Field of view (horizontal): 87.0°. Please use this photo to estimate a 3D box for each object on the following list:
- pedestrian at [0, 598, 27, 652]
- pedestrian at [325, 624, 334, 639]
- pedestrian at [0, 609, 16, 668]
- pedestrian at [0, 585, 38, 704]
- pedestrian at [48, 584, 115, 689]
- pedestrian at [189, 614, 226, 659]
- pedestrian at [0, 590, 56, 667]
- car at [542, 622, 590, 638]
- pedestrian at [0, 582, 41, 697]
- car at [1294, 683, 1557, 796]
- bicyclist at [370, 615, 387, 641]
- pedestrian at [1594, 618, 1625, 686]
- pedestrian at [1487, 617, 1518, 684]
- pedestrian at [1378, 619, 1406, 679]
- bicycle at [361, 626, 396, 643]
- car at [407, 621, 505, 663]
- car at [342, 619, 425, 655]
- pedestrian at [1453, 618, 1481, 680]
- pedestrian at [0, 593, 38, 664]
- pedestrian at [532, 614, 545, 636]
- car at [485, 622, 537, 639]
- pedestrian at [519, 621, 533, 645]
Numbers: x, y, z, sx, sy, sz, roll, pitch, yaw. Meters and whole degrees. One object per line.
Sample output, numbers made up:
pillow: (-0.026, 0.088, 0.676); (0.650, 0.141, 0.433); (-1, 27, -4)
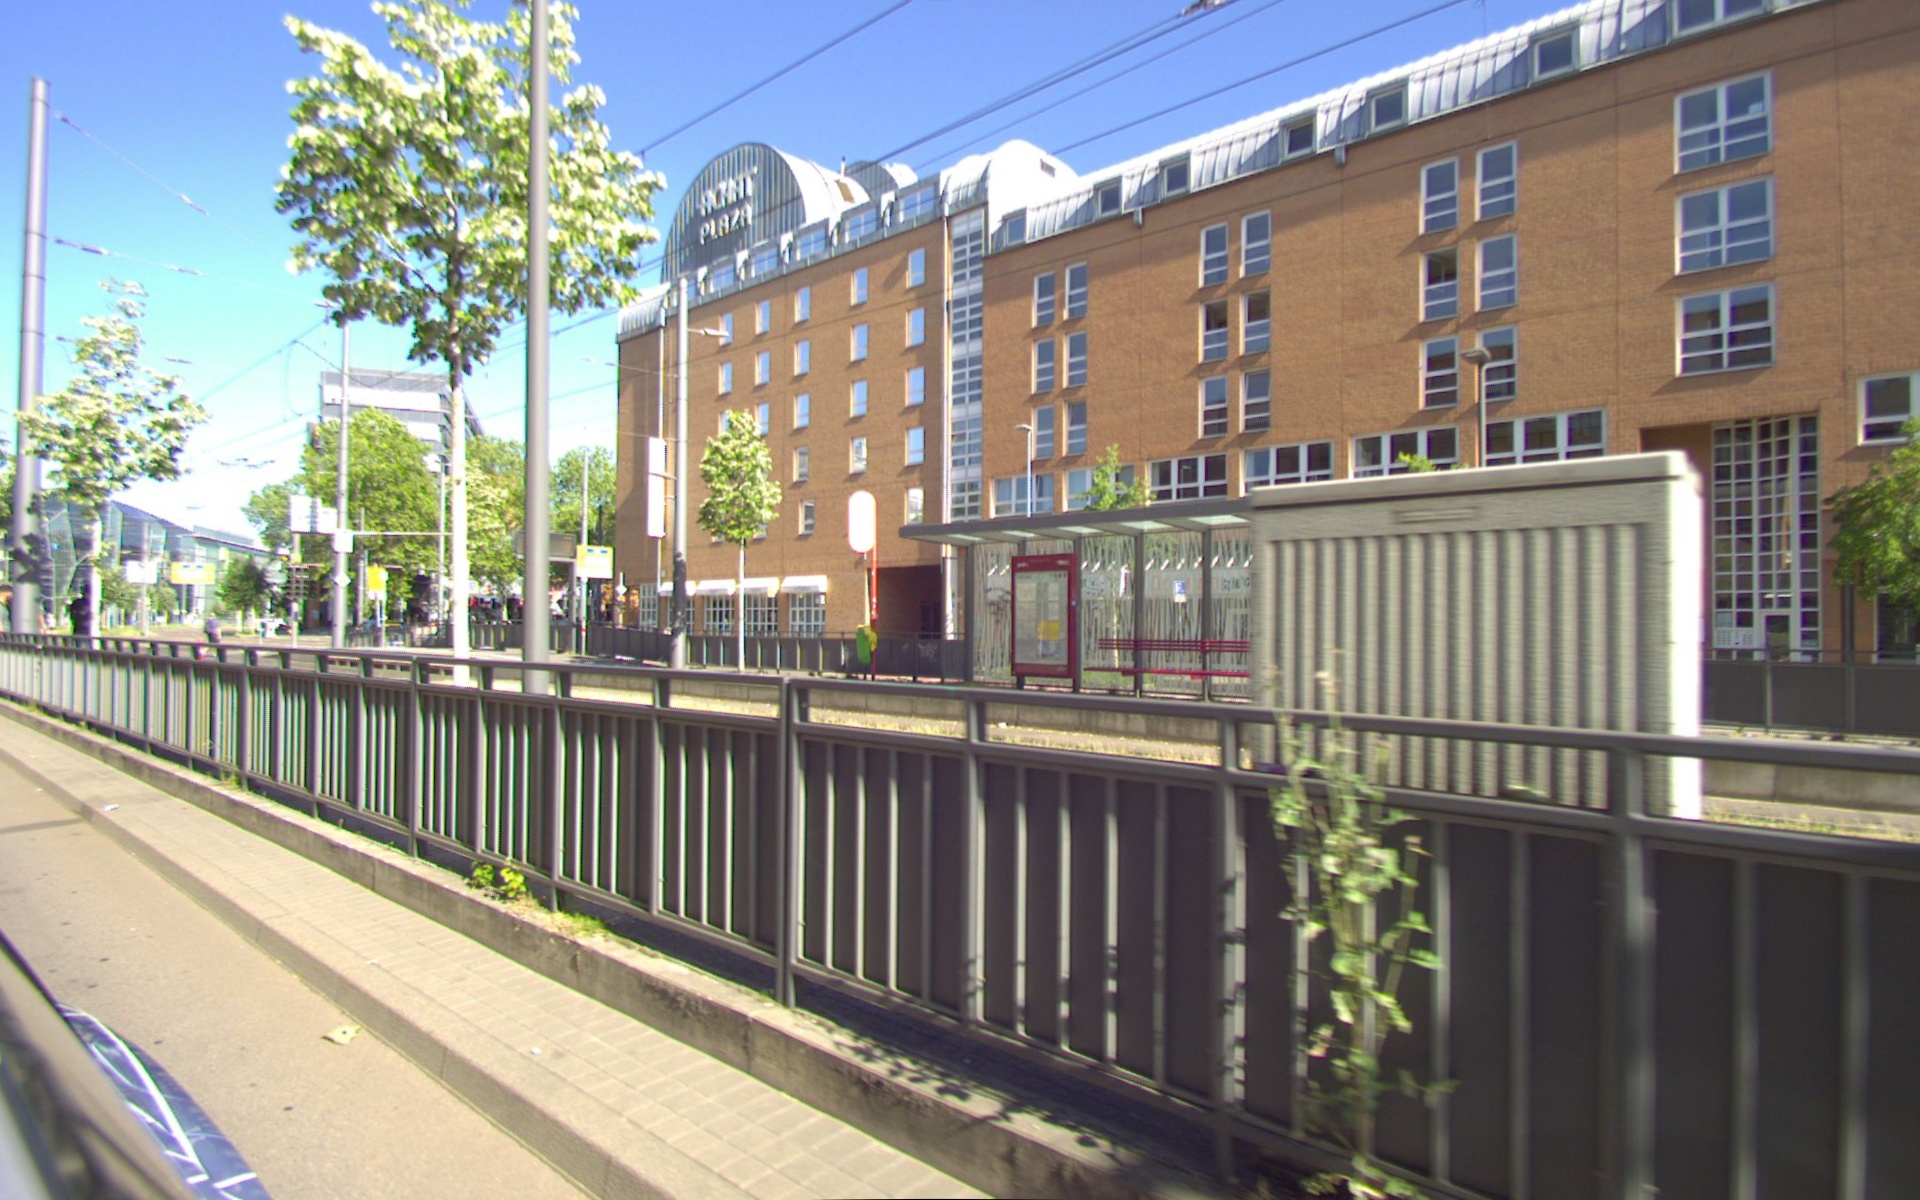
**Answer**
pedestrian: (-28.455, 0.753, 30.283); (0.907, 1.581, 0.602); (-1, -2, 37)
pedestrian: (-60.836, 3.026, 97.613); (0.653, 1.408, 0.673); (2, -2, -37)
pedestrian: (-27.045, 1.063, 28.327); (0.774, 1.631, 0.747); (-1, -2, 37)
pedestrian: (-15.515, 0.717, 16.384); (0.715, 1.899, 0.738); (-1, -2, 40)
pedestrian: (-15.006, 0.612, 17.288); (0.751, 1.736, 0.701); (-1, -2, 39)
pedestrian: (-28.899, 1.378, 38.869); (1.006, 1.702, 0.947); (-1, -2, 43)
pedestrian: (-22.926, 0.687, 24.765); (1.021, 1.825, 0.982); (-1, -2, 37)
car: (-38.430, 2.924, 98.752); (1.910, 1.519, 3.943); (-1, -2, 43)
pedestrian: (-15.008, 0.616, 15.888); (0.715, 1.761, 0.738); (-1, -2, 40)
car: (8.350, 2.410, 18.305); (3.997, 1.475, 1.859); (0, 0, 40)
bicyclist: (-37.610, 1.787, 65.458); (0.836, 1.652, 0.780); (2, -2, -41)
pedestrian: (17.975, 1.432, 28.006); (0.644, 1.854, 0.614); (-1, -2, 41)
pedestrian: (15.428, 1.425, 28.786); (0.644, 1.854, 0.614); (-1, -2, 39)
pedestrian: (13.420, 1.509, 31.464); (0.644, 1.854, 0.614); (-1, -2, 39)
bicycle: (-37.597, 2.245, 65.446); (1.812, 1.108, 0.639); (2, -2, -41)
car: (-19.435, 1.576, 38.971); (4.287, 1.509, 1.911); (-1, -2, 42)
car: (-25.500, 1.594, 44.717); (4.287, 1.509, 1.911); (-1, -2, 42)
pedestrian: (15.574, 1.497, 31.097); (0.644, 1.854, 0.614); (-1, -2, 39)
pedestrian: (-24.728, 0.742, 26.468); (0.839, 1.825, 0.747); (-1, -2, 37)
pedestrian: (-31.267, 1.858, 74.986); (0.637, 1.622, 0.728); (2, -2, -45)
car: (-42.155, 2.868, 95.058); (1.910, 1.519, 4.113); (-1, -2, 43)
pedestrian: (-31.496, 2.412, 73.445); (0.637, 1.719, 0.728); (2, -2, -45)
